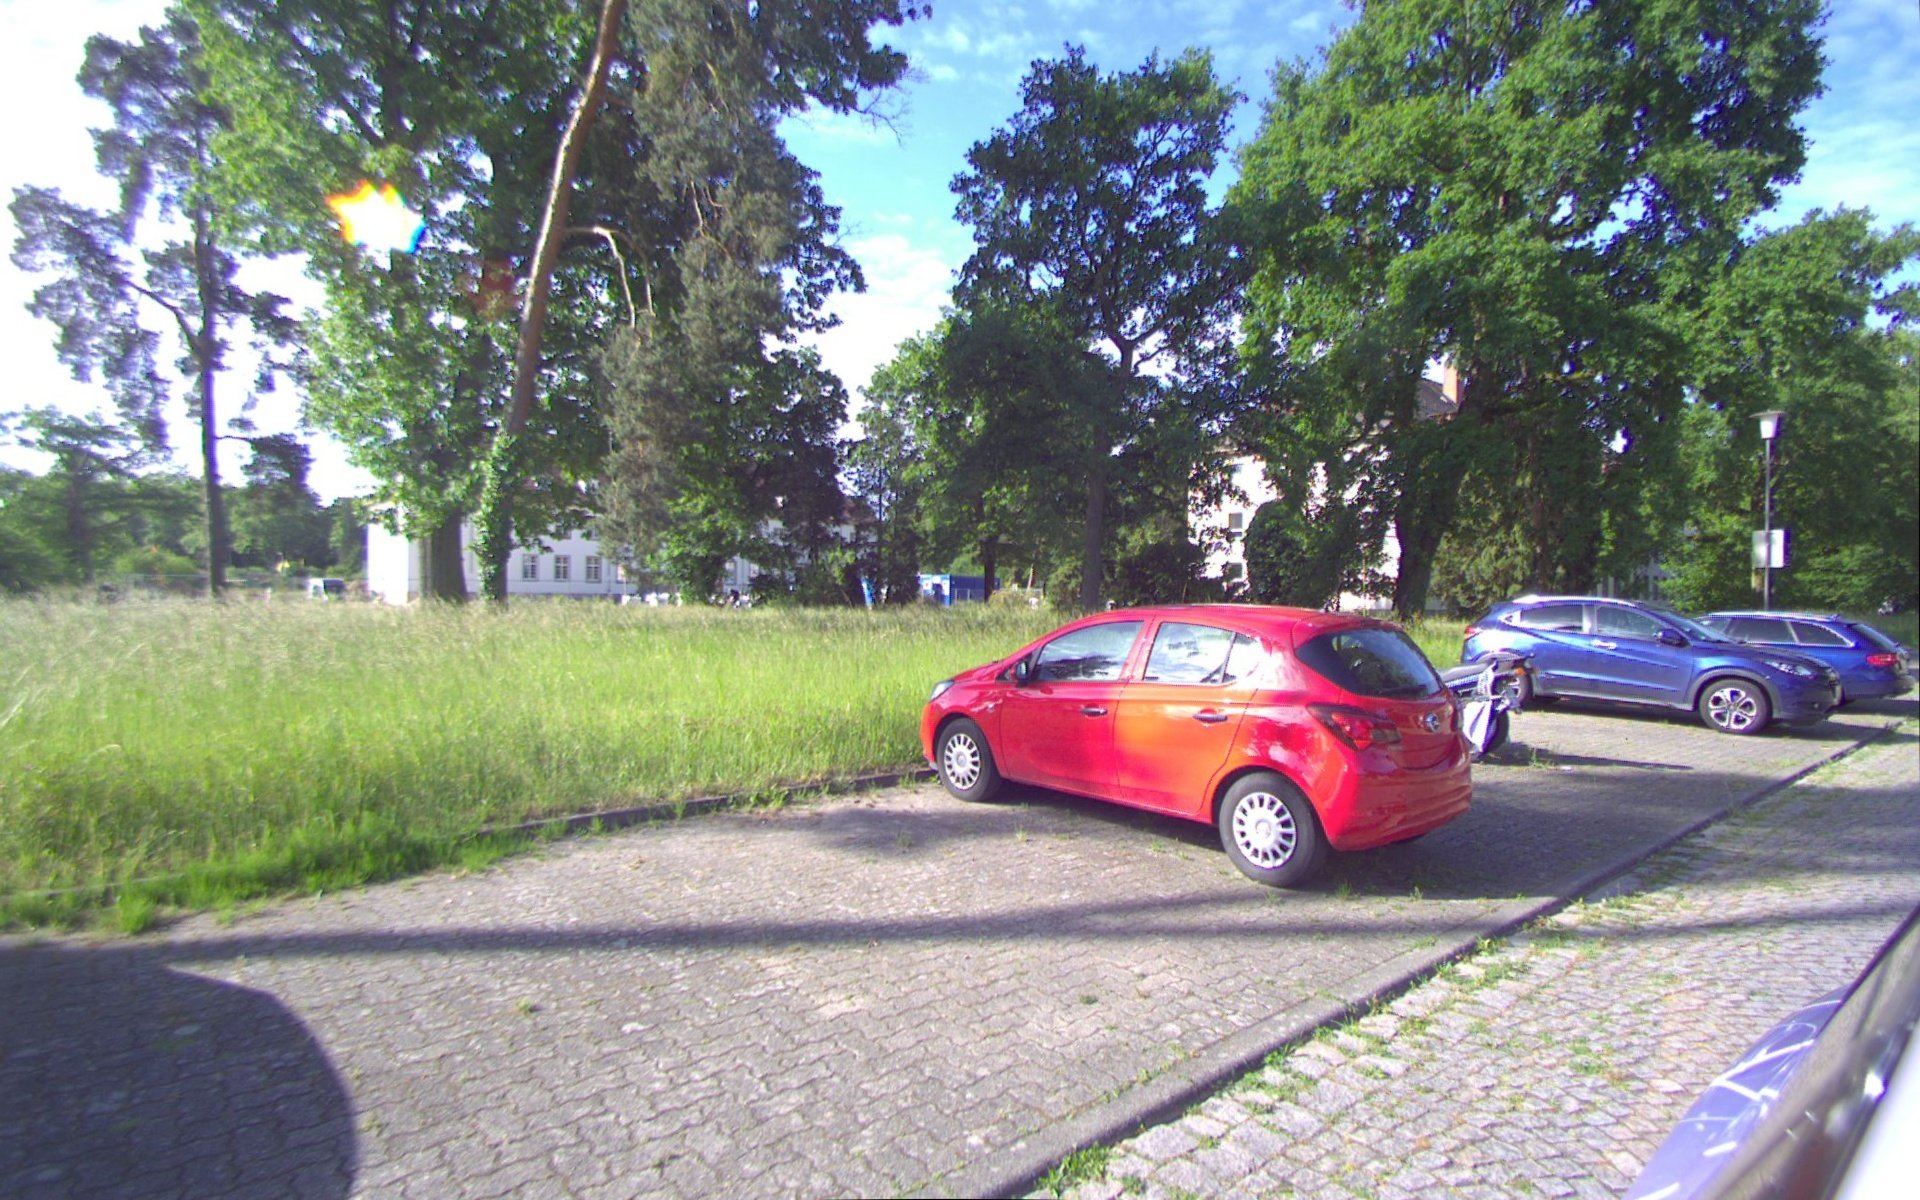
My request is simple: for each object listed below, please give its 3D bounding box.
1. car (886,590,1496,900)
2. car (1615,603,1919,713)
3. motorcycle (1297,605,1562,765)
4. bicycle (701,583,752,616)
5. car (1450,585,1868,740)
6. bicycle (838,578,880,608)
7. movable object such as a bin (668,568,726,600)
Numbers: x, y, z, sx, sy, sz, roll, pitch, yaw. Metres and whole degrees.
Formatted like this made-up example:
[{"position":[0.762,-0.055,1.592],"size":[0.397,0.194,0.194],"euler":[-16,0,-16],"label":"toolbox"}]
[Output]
[{"position":[1.283,0.695,6.965],"size":[1.513,1.514,3.994],"euler":[0,0,-40],"label":"car"},{"position":[12.872,0.816,16.093],"size":[1.716,1.485,3.808],"euler":[0,0,-39],"label":"car"},{"position":[4.576,0.750,10.030],"size":[0.863,1.370,2.235],"euler":[1,0,-38],"label":"motorcycle"},{"position":[-15.078,-0.084,65.447],"size":[3.078,2.038,0.952],"euler":[-2,2,-42],"label":"bicycle"},{"position":[9.049,0.672,13.433],"size":[1.622,1.618,4.271],"euler":[0,2,-40],"label":"car"},{"position":[-7.228,-0.520,72.599],"size":[3.078,2.038,0.952],"euler":[-2,2,-42],"label":"bicycle"},{"position":[-25.072,-1.513,96.552],"size":[4.975,2.937,2.181],"euler":[0,0,-34],"label":"movable object such as a bin"}]
